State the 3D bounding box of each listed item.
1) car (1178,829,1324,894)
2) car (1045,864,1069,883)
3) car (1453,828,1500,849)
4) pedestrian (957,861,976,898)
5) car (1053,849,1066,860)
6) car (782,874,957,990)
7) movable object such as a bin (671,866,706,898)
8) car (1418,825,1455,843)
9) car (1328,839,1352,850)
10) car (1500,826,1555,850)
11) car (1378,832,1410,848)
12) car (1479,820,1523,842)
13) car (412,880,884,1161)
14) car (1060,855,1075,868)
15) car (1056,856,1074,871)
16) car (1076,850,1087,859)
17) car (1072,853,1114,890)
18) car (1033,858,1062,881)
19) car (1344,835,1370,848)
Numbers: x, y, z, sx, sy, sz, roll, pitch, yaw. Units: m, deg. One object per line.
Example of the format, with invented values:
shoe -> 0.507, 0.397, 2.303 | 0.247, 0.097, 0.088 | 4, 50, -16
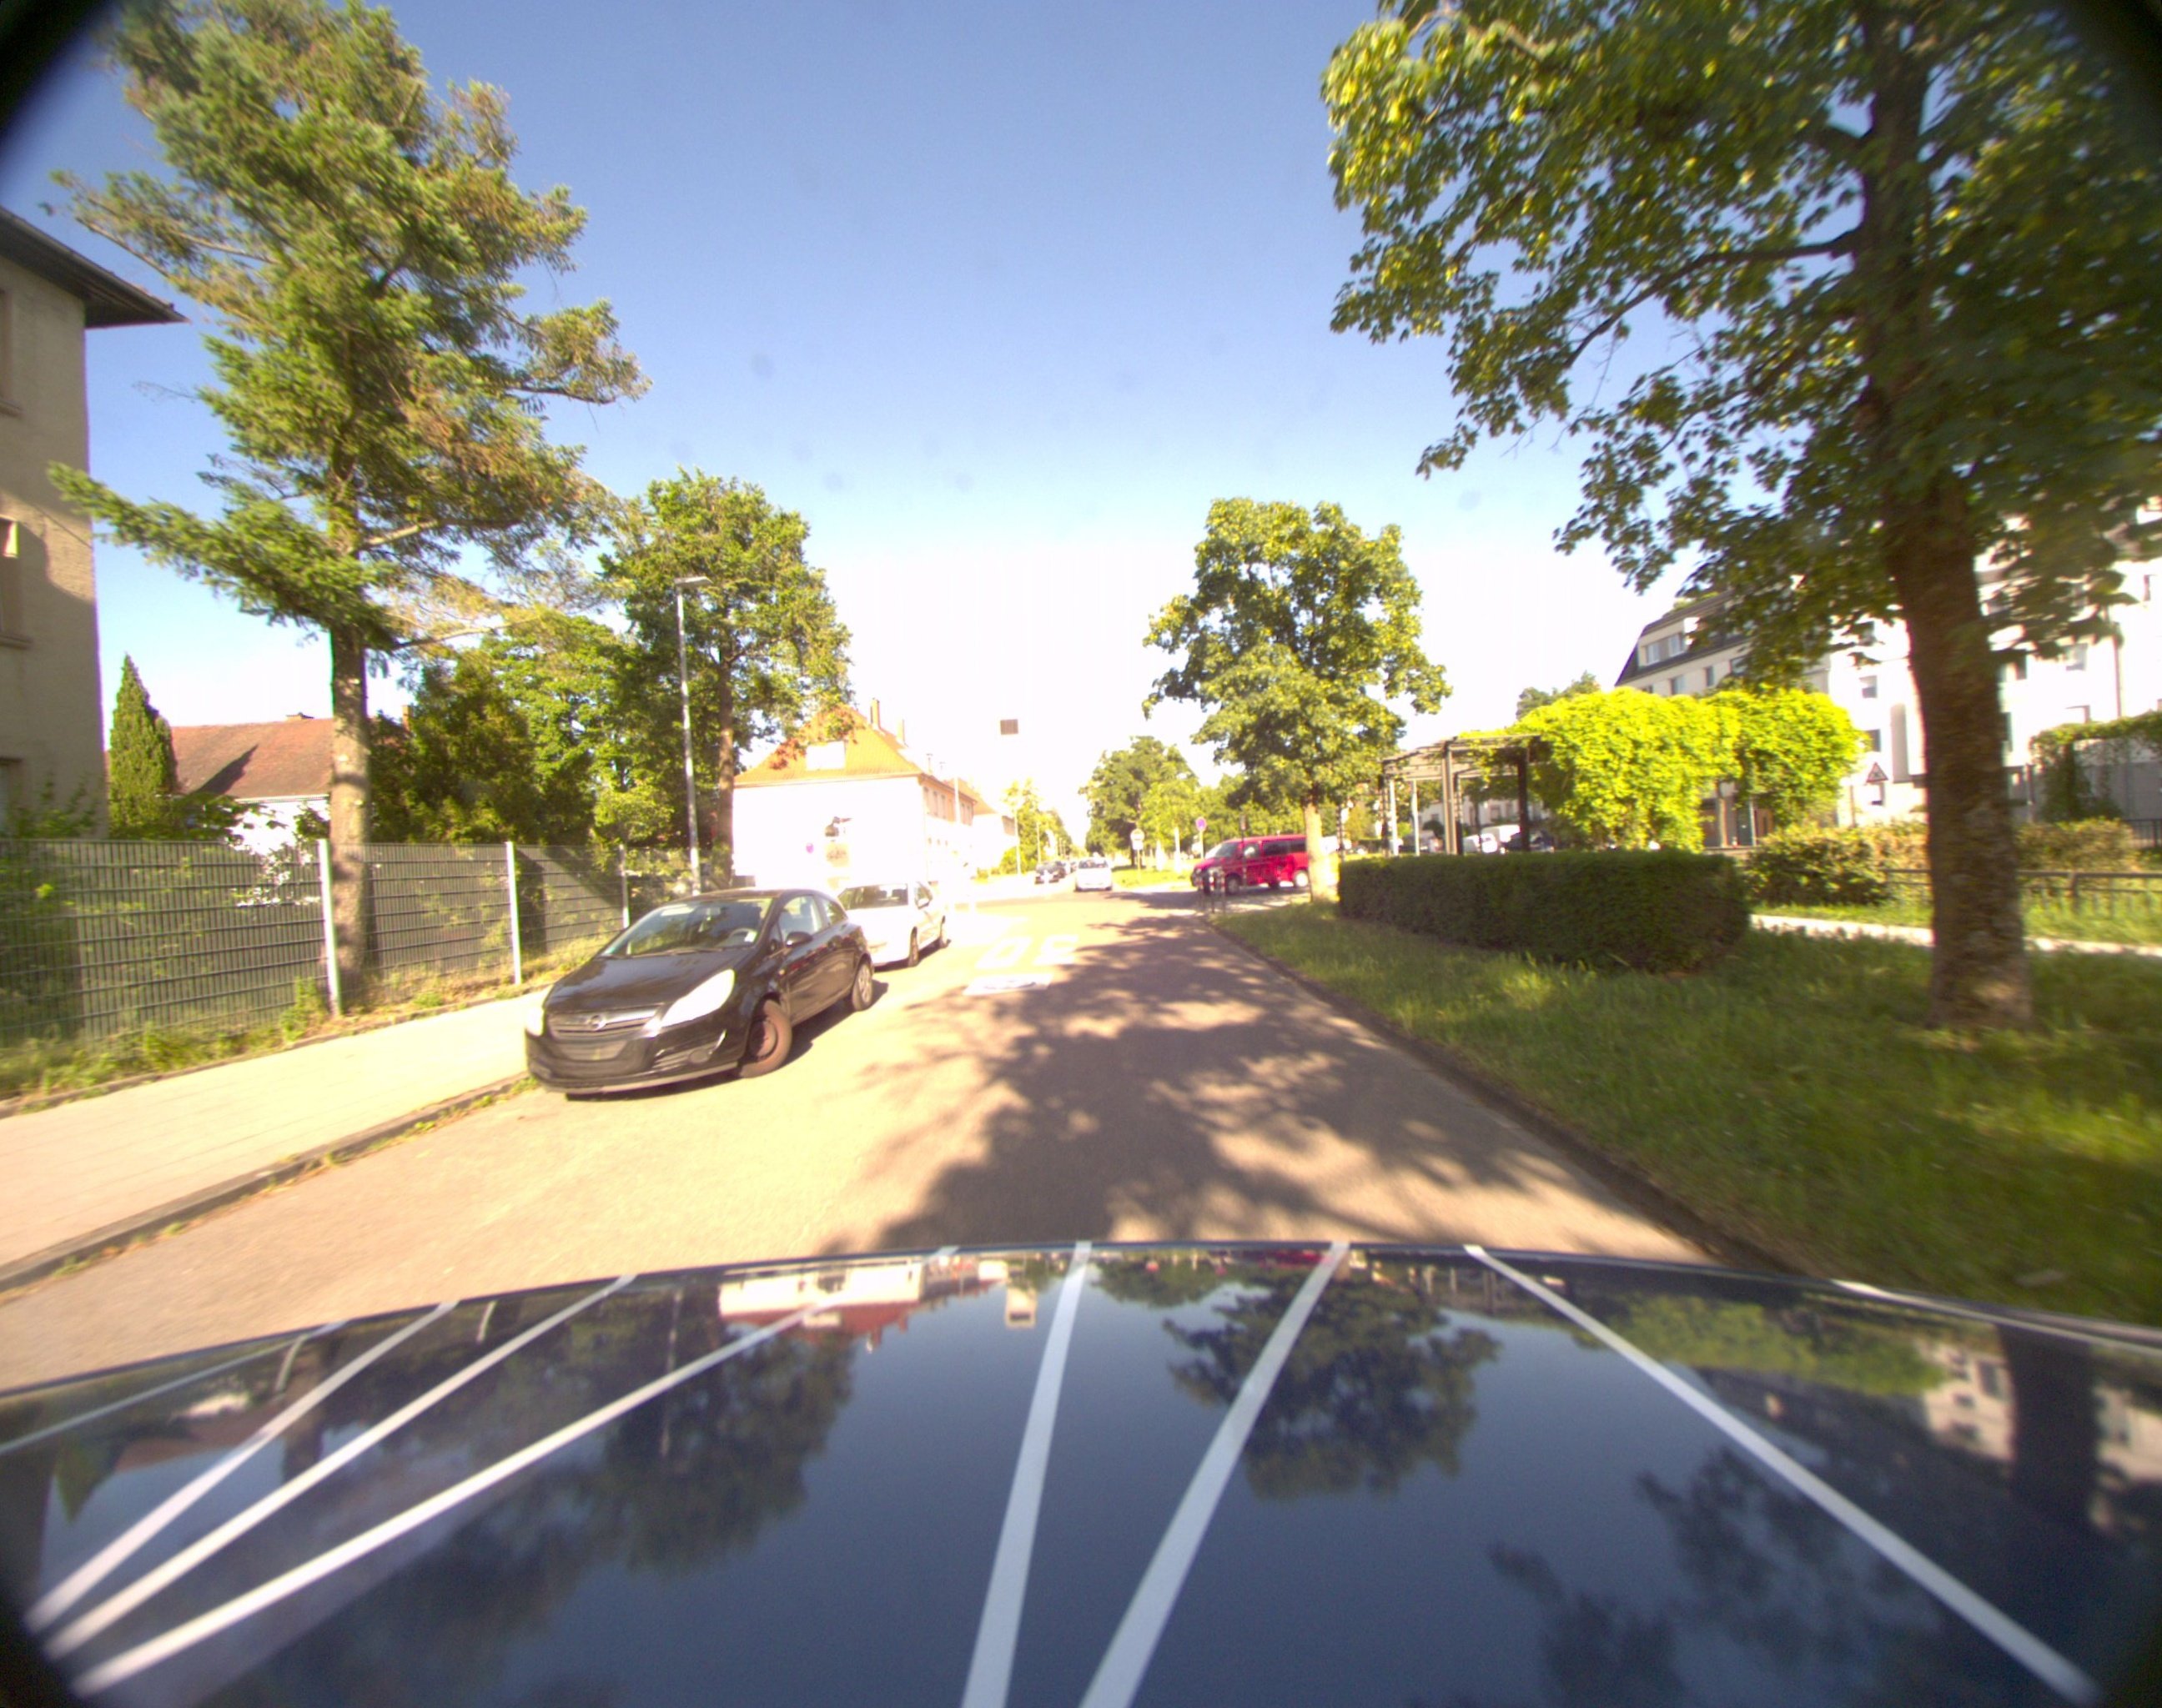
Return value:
car -> 6.267, 0.238, 28.042 | 4.848, 2.001, 2.090 | -4, 1, -21
car -> -2.086, 1.682, 66.475 | 1.799, 1.529, 4.001 | -4, -1, 1
car -> 34.658, -1.369, 66.720 | 2.057, 1.683, 4.406 | -2, 1, 4
pedestrian -> -5.321, 1.199, 35.368 | 0.649, 1.658, 0.650 | -2, 3, 6
car -> -3.337, 0.115, 119.653 | 1.799, 1.529, 4.001 | -4, -1, 1
car -> -3.430, 1.207, 13.195 | 1.676, 1.414, 4.134 | -5, 0, 1
movable object such as a bin -> -21.203, 1.525, 41.078 | 1.174, 1.599, 1.194 | -4, 1, 1
car -> 34.889, -1.941, 74.719 | 1.799, 1.665, 4.000 | -3, 1, 1
car -> 35.461, -1.305, 104.131 | 1.799, 1.501, 4.000 | -3, 1, 1
car -> 34.501, -1.233, 58.851 | 1.799, 1.683, 4.132 | -3, 1, 1
car -> 35.153, -1.569, 85.400 | 1.799, 1.603, 4.405 | -3, 1, 1
car -> 40.679, -2.193, 73.704 | 1.941, 2.017, 4.406 | -2, 1, 3
car -> -3.320, 1.155, 6.910 | 1.798, 1.501, 3.994 | -5, 0, 1
car -> -1.711, 1.004, 97.493 | 1.799, 1.529, 4.001 | -4, -1, 1
car -> -1.843, 1.097, 87.434 | 1.799, 1.529, 4.001 | -4, -1, 1
car -> 0.060, 0.126, 137.098 | 1.799, 1.529, 4.001 | -4, -1, 1
car -> 0.554, 0.820, 35.962 | 1.799, 1.524, 4.001 | -4, -1, 1
car -> -2.448, 1.168, 56.639 | 1.799, 1.529, 4.001 | -4, -1, 1
car -> 35.049, -1.553, 96.528 | 1.799, 1.501, 4.000 | -3, 1, 1
